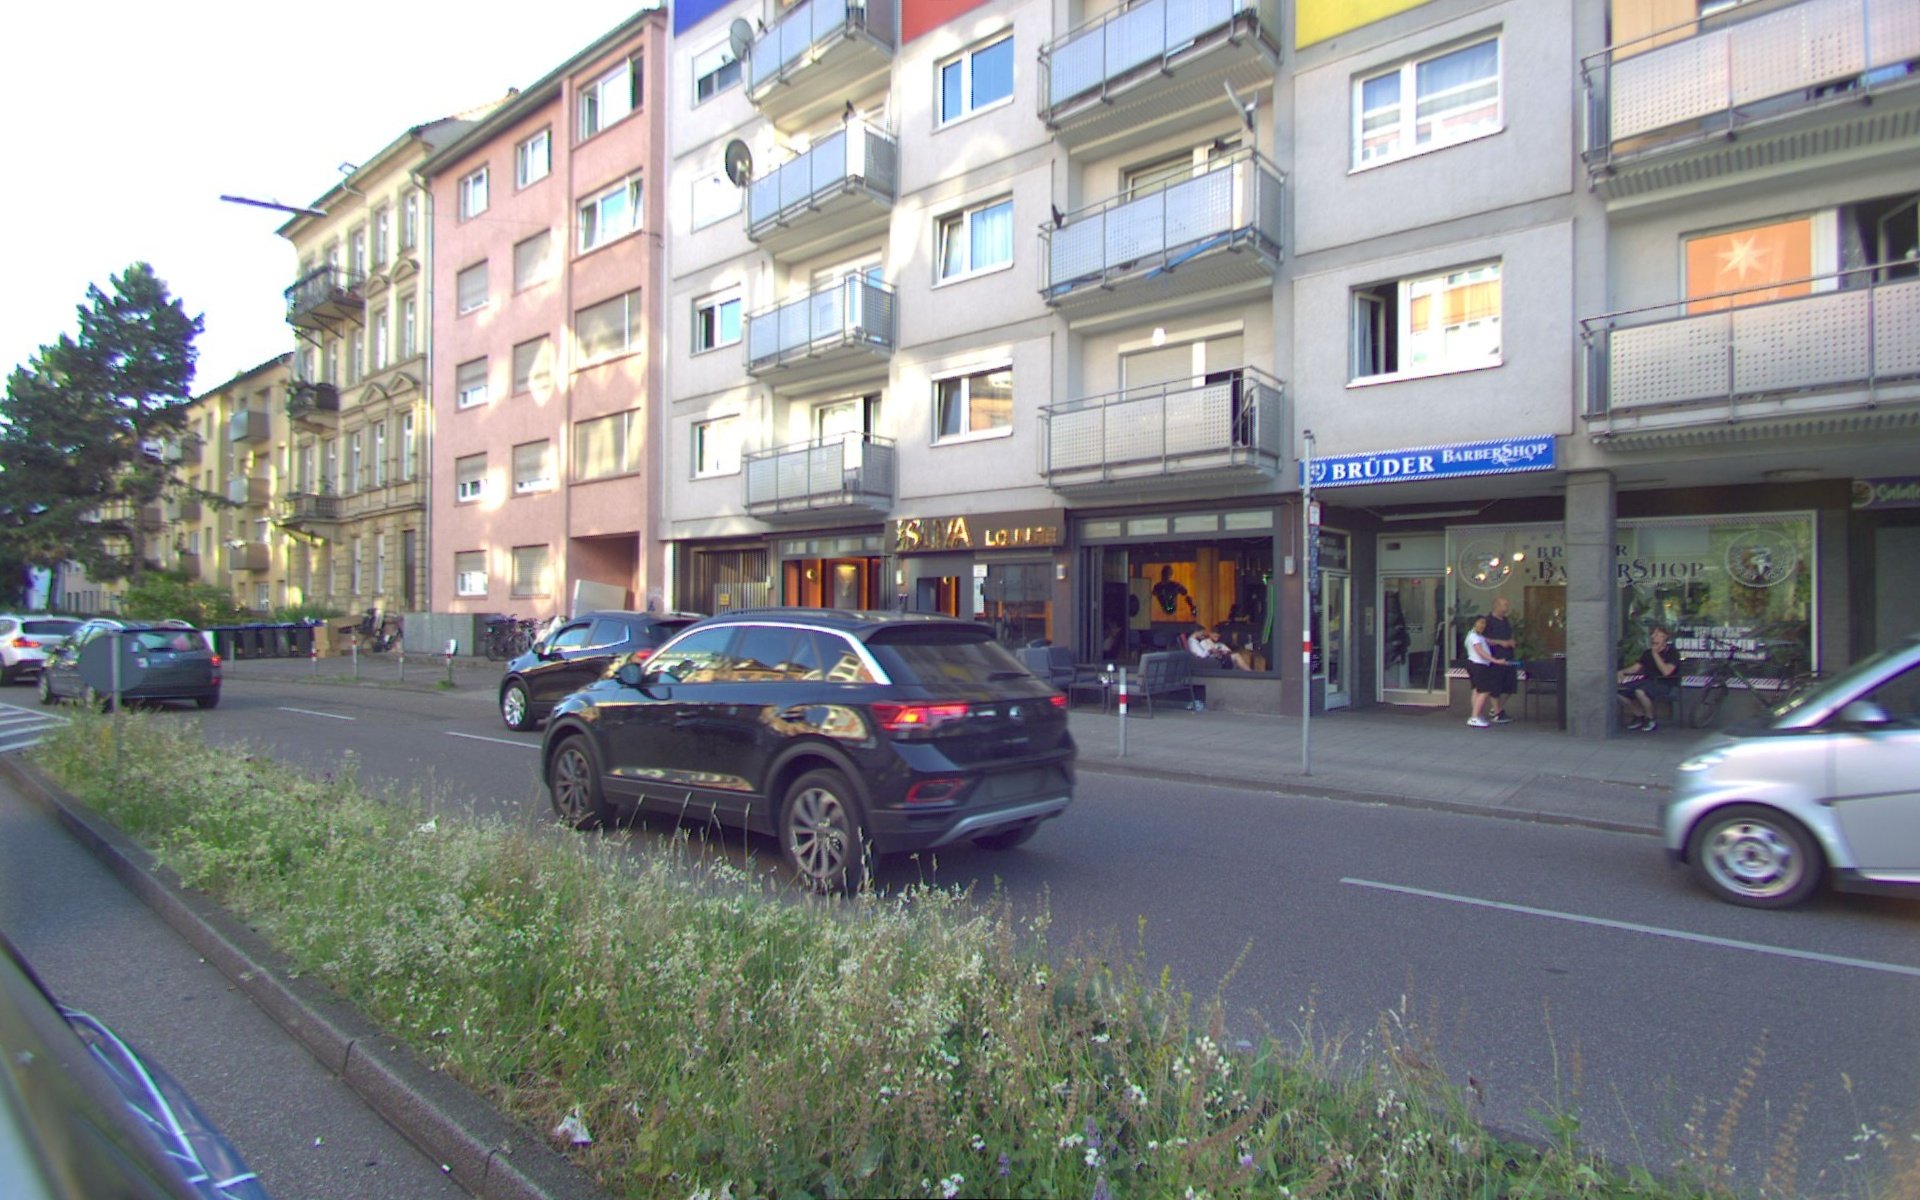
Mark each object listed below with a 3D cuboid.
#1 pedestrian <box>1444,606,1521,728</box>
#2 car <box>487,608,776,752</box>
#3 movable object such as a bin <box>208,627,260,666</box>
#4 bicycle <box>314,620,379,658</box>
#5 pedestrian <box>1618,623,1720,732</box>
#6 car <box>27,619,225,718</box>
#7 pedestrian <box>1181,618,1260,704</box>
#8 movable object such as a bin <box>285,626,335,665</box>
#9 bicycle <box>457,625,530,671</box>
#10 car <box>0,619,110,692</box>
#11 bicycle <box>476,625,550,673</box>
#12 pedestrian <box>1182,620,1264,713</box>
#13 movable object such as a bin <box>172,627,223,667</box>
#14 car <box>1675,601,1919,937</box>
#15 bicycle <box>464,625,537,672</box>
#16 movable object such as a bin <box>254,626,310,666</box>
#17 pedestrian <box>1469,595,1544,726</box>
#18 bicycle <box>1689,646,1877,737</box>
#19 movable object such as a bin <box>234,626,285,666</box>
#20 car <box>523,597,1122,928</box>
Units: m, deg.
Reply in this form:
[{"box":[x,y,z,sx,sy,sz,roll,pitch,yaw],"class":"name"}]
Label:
[{"box":[6.605,0.826,12.803,0.648,1.478,0.627,1,-2,-35],"class":"pedestrian"},{"box":[-4.460,0.978,13.466,4.098,1.641,1.702,-1,-3,39],"class":"car"},{"box":[-23.659,1.494,32.995,0.837,1.242,1.193,0,-1,1],"class":"movable object such as a bin"},{"box":[-19.985,1.266,32.986,0.473,1.200,1.758,-1,-2,38],"class":"bicycle"},{"box":[8.806,0.945,12.595,0.798,1.323,0.626,0,-1,-3],"class":"pedestrian"},{"box":[-14.115,1.093,17.068,3.976,1.482,1.578,-1,-3,36],"class":"car"},{"box":[4.295,0.973,16.658,0.974,1.357,0.871,-1,-2,40],"class":"pedestrian"},{"box":[-20.934,1.459,32.599,0.837,1.242,1.193,0,-1,1],"class":"movable object such as a bin"},{"box":[-12.540,1.279,27.255,0.473,1.200,1.758,-1,-2,38],"class":"bicycle"},{"box":[-21.137,1.213,22.839,4.233,1.499,1.739,-1,-3,32],"class":"car"},{"box":[-11.609,1.260,26.324,0.473,1.200,1.758,-1,-2,38],"class":"bicycle"},{"box":[3.992,0.978,15.344,0.882,1.357,0.961,-1,-2,40],"class":"pedestrian"},{"box":[-24.583,1.507,32.663,0.836,1.242,1.195,0,-1,-8],"class":"movable object such as a bin"},{"box":[5.440,0.828,5.146,2.806,1.605,1.519,-2,-3,40],"class":"car"},{"box":[-12.151,1.274,26.817,0.473,1.200,1.758,-1,-2,38],"class":"bicycle"},{"box":[-21.863,1.469,32.650,0.916,1.242,1.292,0,-1,1],"class":"movable object such as a bin"},{"box":[7.238,0.785,13.421,0.650,1.685,0.625,0,-1,5],"class":"pedestrian"},{"box":[9.984,1.083,12.356,1.691,1.006,0.620,0,-1,32],"class":"bicycle"},{"box":[-22.789,1.483,32.936,0.837,1.242,1.193,0,-1,1],"class":"movable object such as a bin"},{"box":[-1.114,0.838,6.761,4.099,1.556,1.658,-2,-3,40],"class":"car"}]
